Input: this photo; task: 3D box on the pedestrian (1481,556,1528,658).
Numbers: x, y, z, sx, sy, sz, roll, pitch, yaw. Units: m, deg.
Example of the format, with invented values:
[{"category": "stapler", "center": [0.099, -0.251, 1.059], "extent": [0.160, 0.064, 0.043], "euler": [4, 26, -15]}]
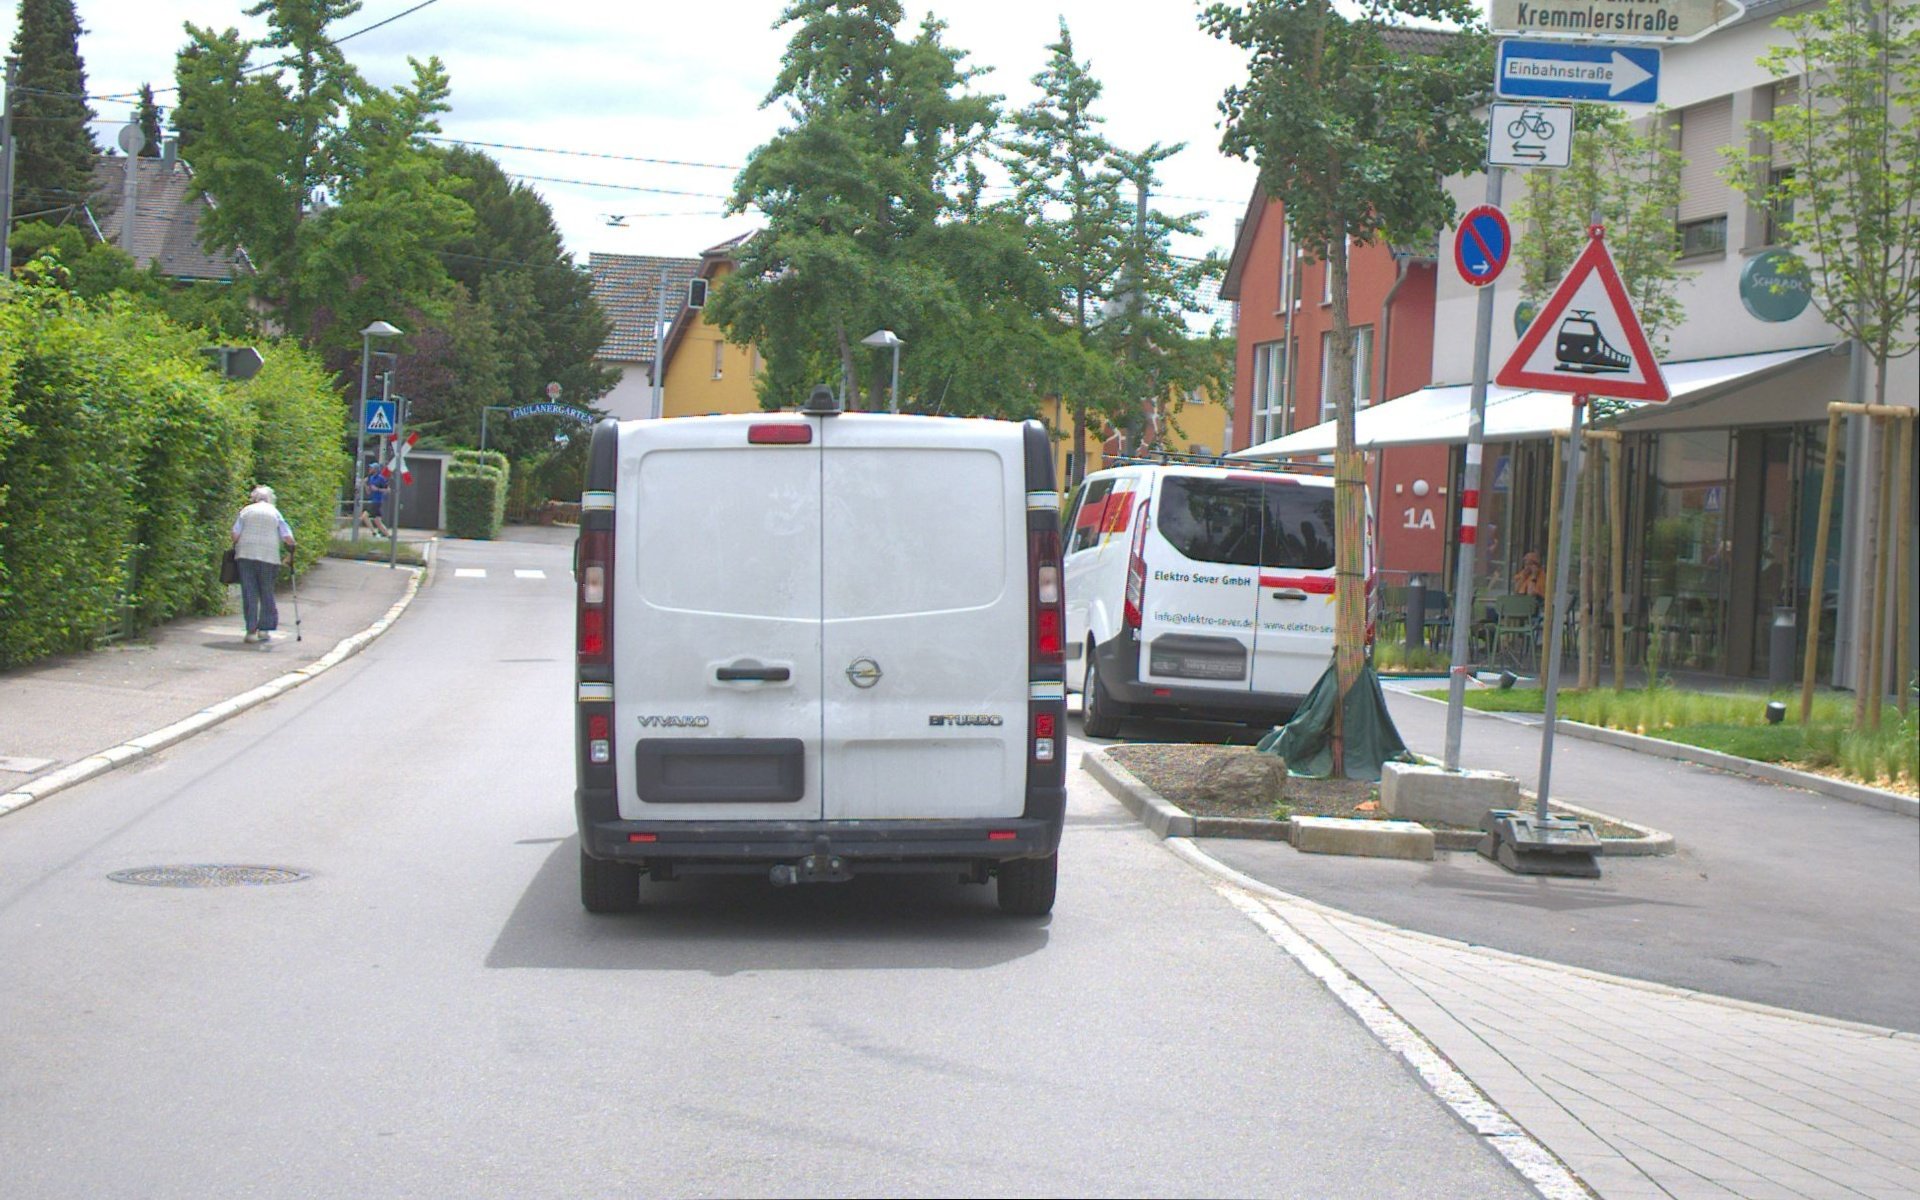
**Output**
[{"category": "pedestrian", "center": [6.442, 0.079, 40.705], "extent": [0.421, 1.178, 0.324], "euler": [3, 1, -7]}]

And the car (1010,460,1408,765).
[{"category": "car", "center": [1.724, 0.048, 25.696], "extent": [1.958, 1.909, 4.903], "euler": [5, 0, -6]}]

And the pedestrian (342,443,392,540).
[{"category": "pedestrian", "center": [-12.697, -2.318, 73.567], "extent": [0.832, 2.007, 0.680], "euler": [5, 0, -15]}]

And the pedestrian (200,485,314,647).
[{"category": "pedestrian", "center": [-6.771, -0.326, 33.126], "extent": [0.876, 1.480, 0.455], "euler": [5, 0, -25]}]

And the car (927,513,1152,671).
[{"category": "car", "center": [0.810, -0.116, 37.407], "extent": [1.741, 1.489, 3.656], "euler": [5, 0, -8]}]

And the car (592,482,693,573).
[{"category": "car", "center": [-6.616, -1.503, 71.583], "extent": [1.993, 1.776, 4.001], "euler": [2, 1, -5]}]

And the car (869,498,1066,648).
[{"category": "car", "center": [0.035, -0.377, 42.485], "extent": [1.702, 1.609, 4.260], "euler": [5, 1, -8]}]

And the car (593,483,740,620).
[{"category": "car", "center": [-4.297, -0.711, 50.135], "extent": [1.993, 1.842, 4.001], "euler": [2, 1, -5]}]

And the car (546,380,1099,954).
[{"category": "car", "center": [-0.669, 0.233, 14.576], "extent": [1.915, 1.996, 4.438], "euler": [2, 0, -5]}]
